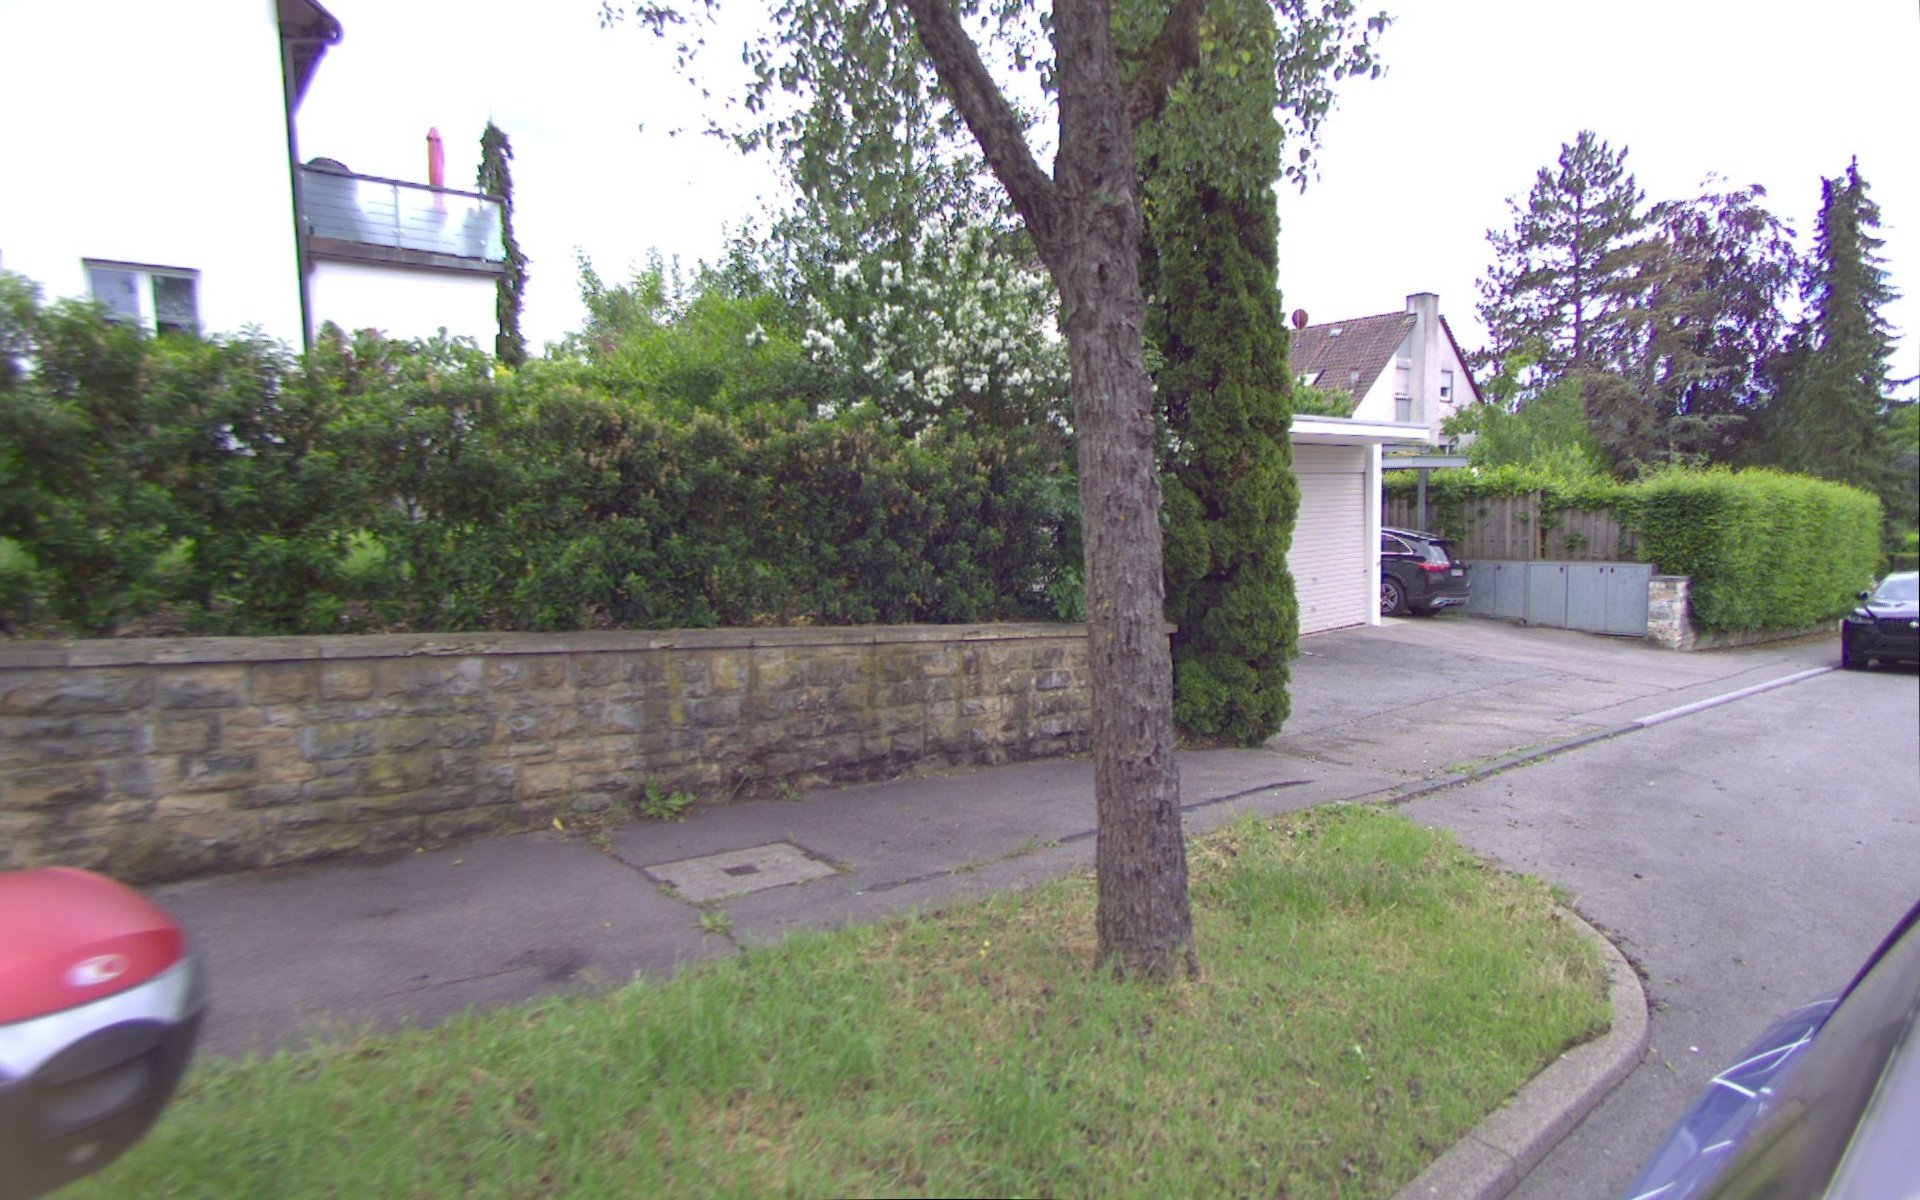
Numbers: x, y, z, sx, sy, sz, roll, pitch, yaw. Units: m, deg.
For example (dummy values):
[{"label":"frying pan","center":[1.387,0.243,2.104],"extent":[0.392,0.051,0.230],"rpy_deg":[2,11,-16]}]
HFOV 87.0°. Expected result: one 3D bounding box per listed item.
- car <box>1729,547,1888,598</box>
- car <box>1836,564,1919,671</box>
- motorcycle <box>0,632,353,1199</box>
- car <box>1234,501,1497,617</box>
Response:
[{"label":"car","center":[30.413,-1.025,36.402],"extent":[4.206,1.618,1.854],"rpy_deg":[5,5,41]},{"label":"car","center":[16.472,0.223,16.790],"extent":[4.429,1.638,2.000],"rpy_deg":[-1,2,-36]},{"label":"motorcycle","center":[-1.774,0.731,1.306],"extent":[1.841,1.363,0.597],"rpy_deg":[3,3,15]},{"label":"car","center":[7.959,-0.893,20.217],"extent":[1.852,1.667,4.378],"rpy_deg":[-1,10,-41]}]
